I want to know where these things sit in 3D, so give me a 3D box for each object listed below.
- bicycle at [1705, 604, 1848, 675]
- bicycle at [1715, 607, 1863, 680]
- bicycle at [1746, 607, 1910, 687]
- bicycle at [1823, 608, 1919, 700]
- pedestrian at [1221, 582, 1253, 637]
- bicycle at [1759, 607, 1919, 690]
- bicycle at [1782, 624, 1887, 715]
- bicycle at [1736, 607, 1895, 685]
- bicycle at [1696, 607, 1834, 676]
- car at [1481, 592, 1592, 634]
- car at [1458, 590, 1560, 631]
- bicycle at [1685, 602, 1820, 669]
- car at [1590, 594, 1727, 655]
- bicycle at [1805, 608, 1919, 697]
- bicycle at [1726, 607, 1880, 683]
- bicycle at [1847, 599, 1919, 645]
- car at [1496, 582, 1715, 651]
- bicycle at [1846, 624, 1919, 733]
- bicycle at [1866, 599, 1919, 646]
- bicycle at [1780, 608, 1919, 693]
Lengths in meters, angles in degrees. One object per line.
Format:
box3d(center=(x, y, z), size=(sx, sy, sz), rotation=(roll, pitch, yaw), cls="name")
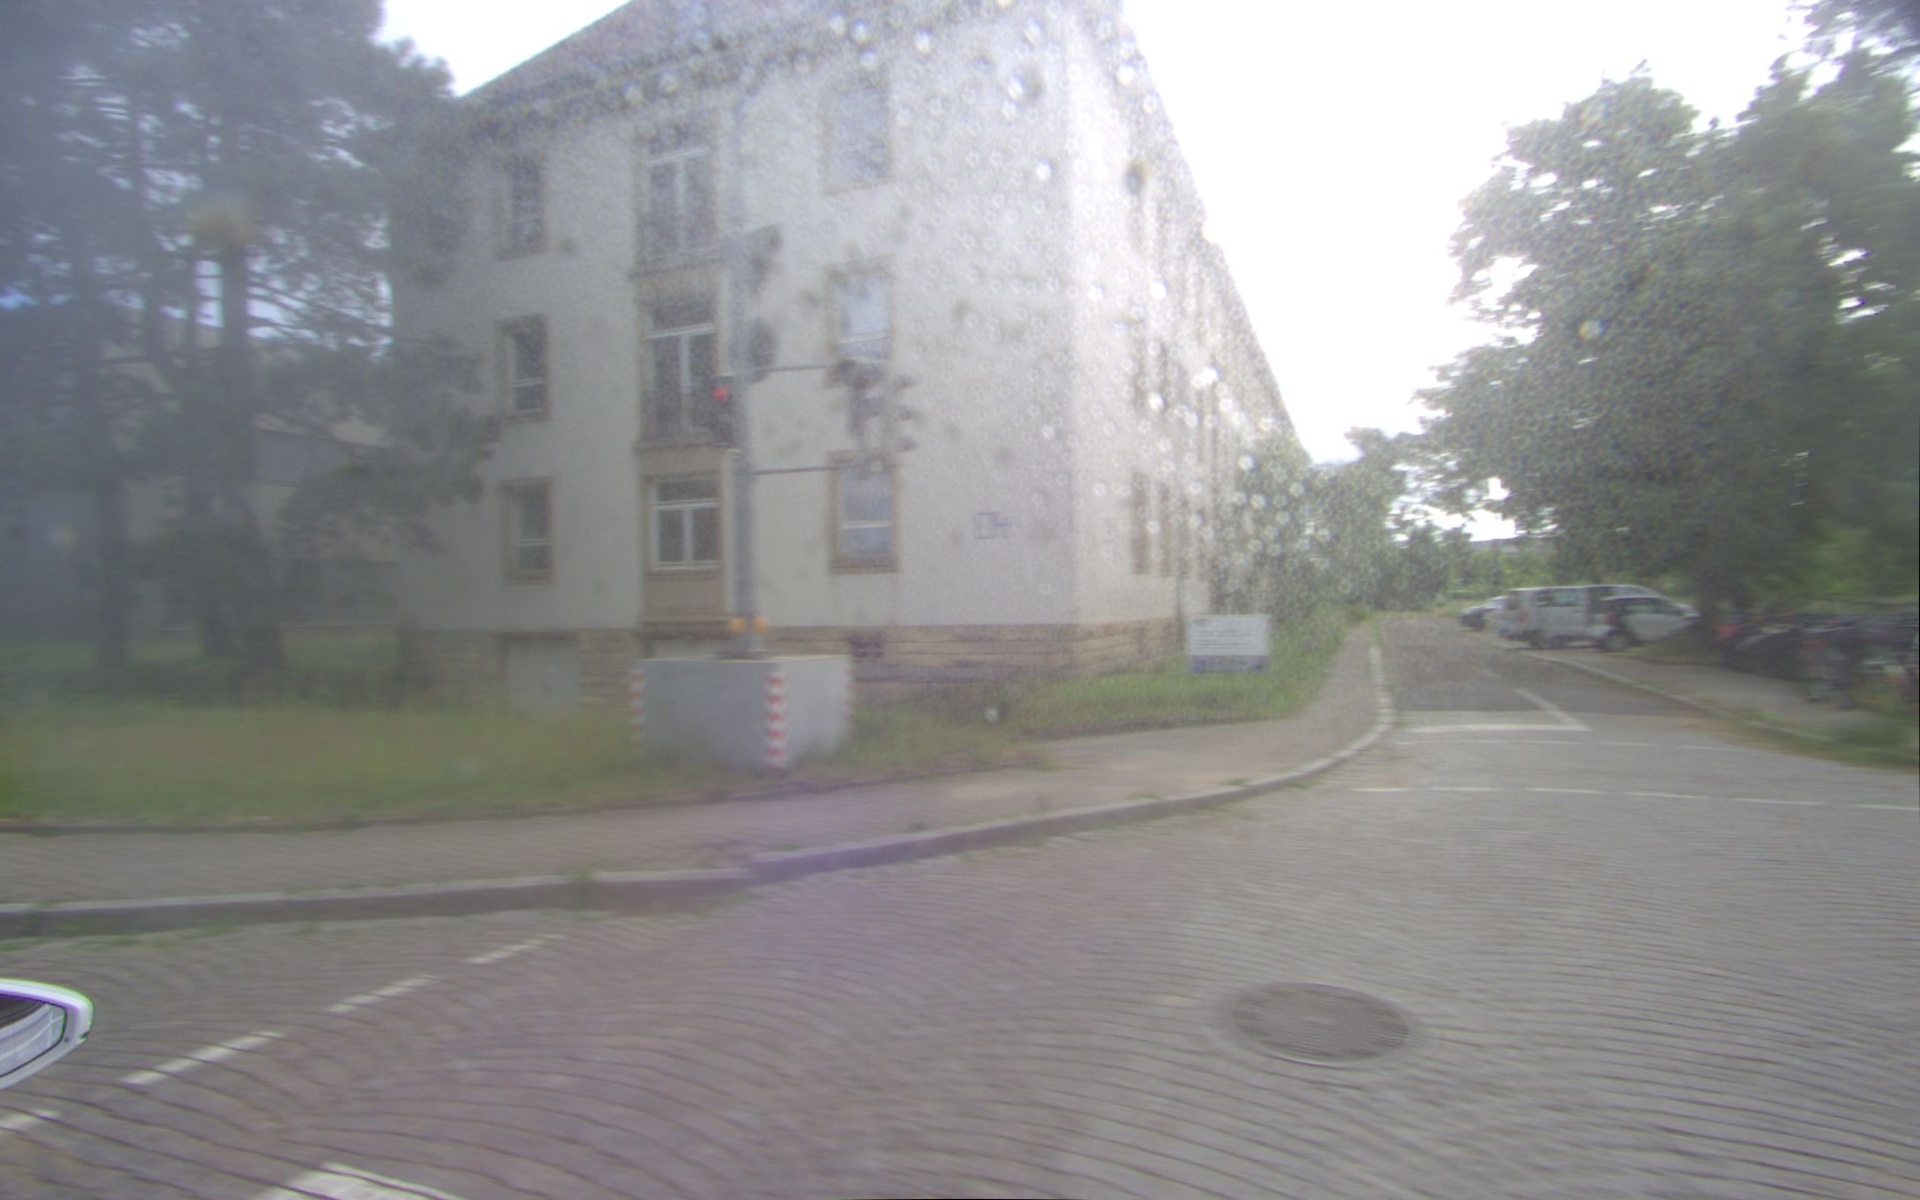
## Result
box3d(center=(15.249, 0.714, 18.761), size=(1.954, 1.264, 0.623), rotation=(0, 1, 21), cls="bicycle")
box3d(center=(15.082, 0.775, 18.276), size=(1.954, 1.264, 0.623), rotation=(0, 1, 21), cls="bicycle")
box3d(center=(14.499, 0.765, 16.787), size=(1.954, 1.264, 0.623), rotation=(0, 1, 21), cls="bicycle")
box3d(center=(13.396, 0.747, 13.952), size=(1.954, 1.264, 0.623), rotation=(0, 1, 21), cls="bicycle")
box3d(center=(9.133, 0.309, 33.047), size=(0.827, 1.805, 0.937), rotation=(0, 1, 28), cls="pedestrian")
box3d(center=(14.262, 0.762, 16.201), size=(1.954, 1.264, 0.623), rotation=(0, 1, 21), cls="bicycle")
box3d(center=(11.505, 0.878, 13.224), size=(0.614, 1.097, 1.671), rotation=(1, 0, 26), cls="bicycle")
box3d(center=(14.704, 0.769, 17.268), size=(1.954, 1.264, 0.623), rotation=(0, 1, 21), cls="bicycle")
box3d(center=(15.414, 0.781, 19.227), size=(1.954, 1.264, 0.623), rotation=(0, 1, 21), cls="bicycle")
box3d(center=(25.050, 0.566, 43.660), size=(3.976, 1.741, 1.677), rotation=(-1, 0, 22), cls="car")
box3d(center=(25.596, 0.494, 46.823), size=(3.976, 1.823, 1.677), rotation=(-1, 0, 22), cls="car")
box3d(center=(15.654, 0.705, 19.839), size=(1.955, 1.264, 0.623), rotation=(-2, 0, 21), cls="bicycle")
box3d(center=(19.027, 0.672, 27.404), size=(2.809, 1.579, 1.467), rotation=(-1, 1, 22), cls="car")
box3d(center=(13.625, 0.751, 14.537), size=(1.954, 1.264, 0.623), rotation=(0, 1, 21), cls="bicycle")
box3d(center=(14.794, 0.771, 17.632), size=(1.954, 1.264, 0.623), rotation=(0, 1, 21), cls="bicycle")
box3d(center=(23.717, 0.562, 25.570), size=(1.529, 1.139, 0.400), rotation=(-1, 0, 25), cls="bicycle")
box3d(center=(19.748, 0.508, 30.864), size=(5.220, 1.941, 2.149), rotation=(-1, 0, 8), cls="car")
box3d(center=(10.853, 0.851, 11.383), size=(0.614, 1.128, 1.982), rotation=(1, 0, 25), cls="bicycle")
box3d(center=(23.198, 0.557, 24.457), size=(1.529, 1.139, 0.400), rotation=(-1, 0, 25), cls="bicycle")
box3d(center=(13.950, 0.756, 15.402), size=(1.954, 1.264, 0.623), rotation=(0, 1, 21), cls="bicycle")
